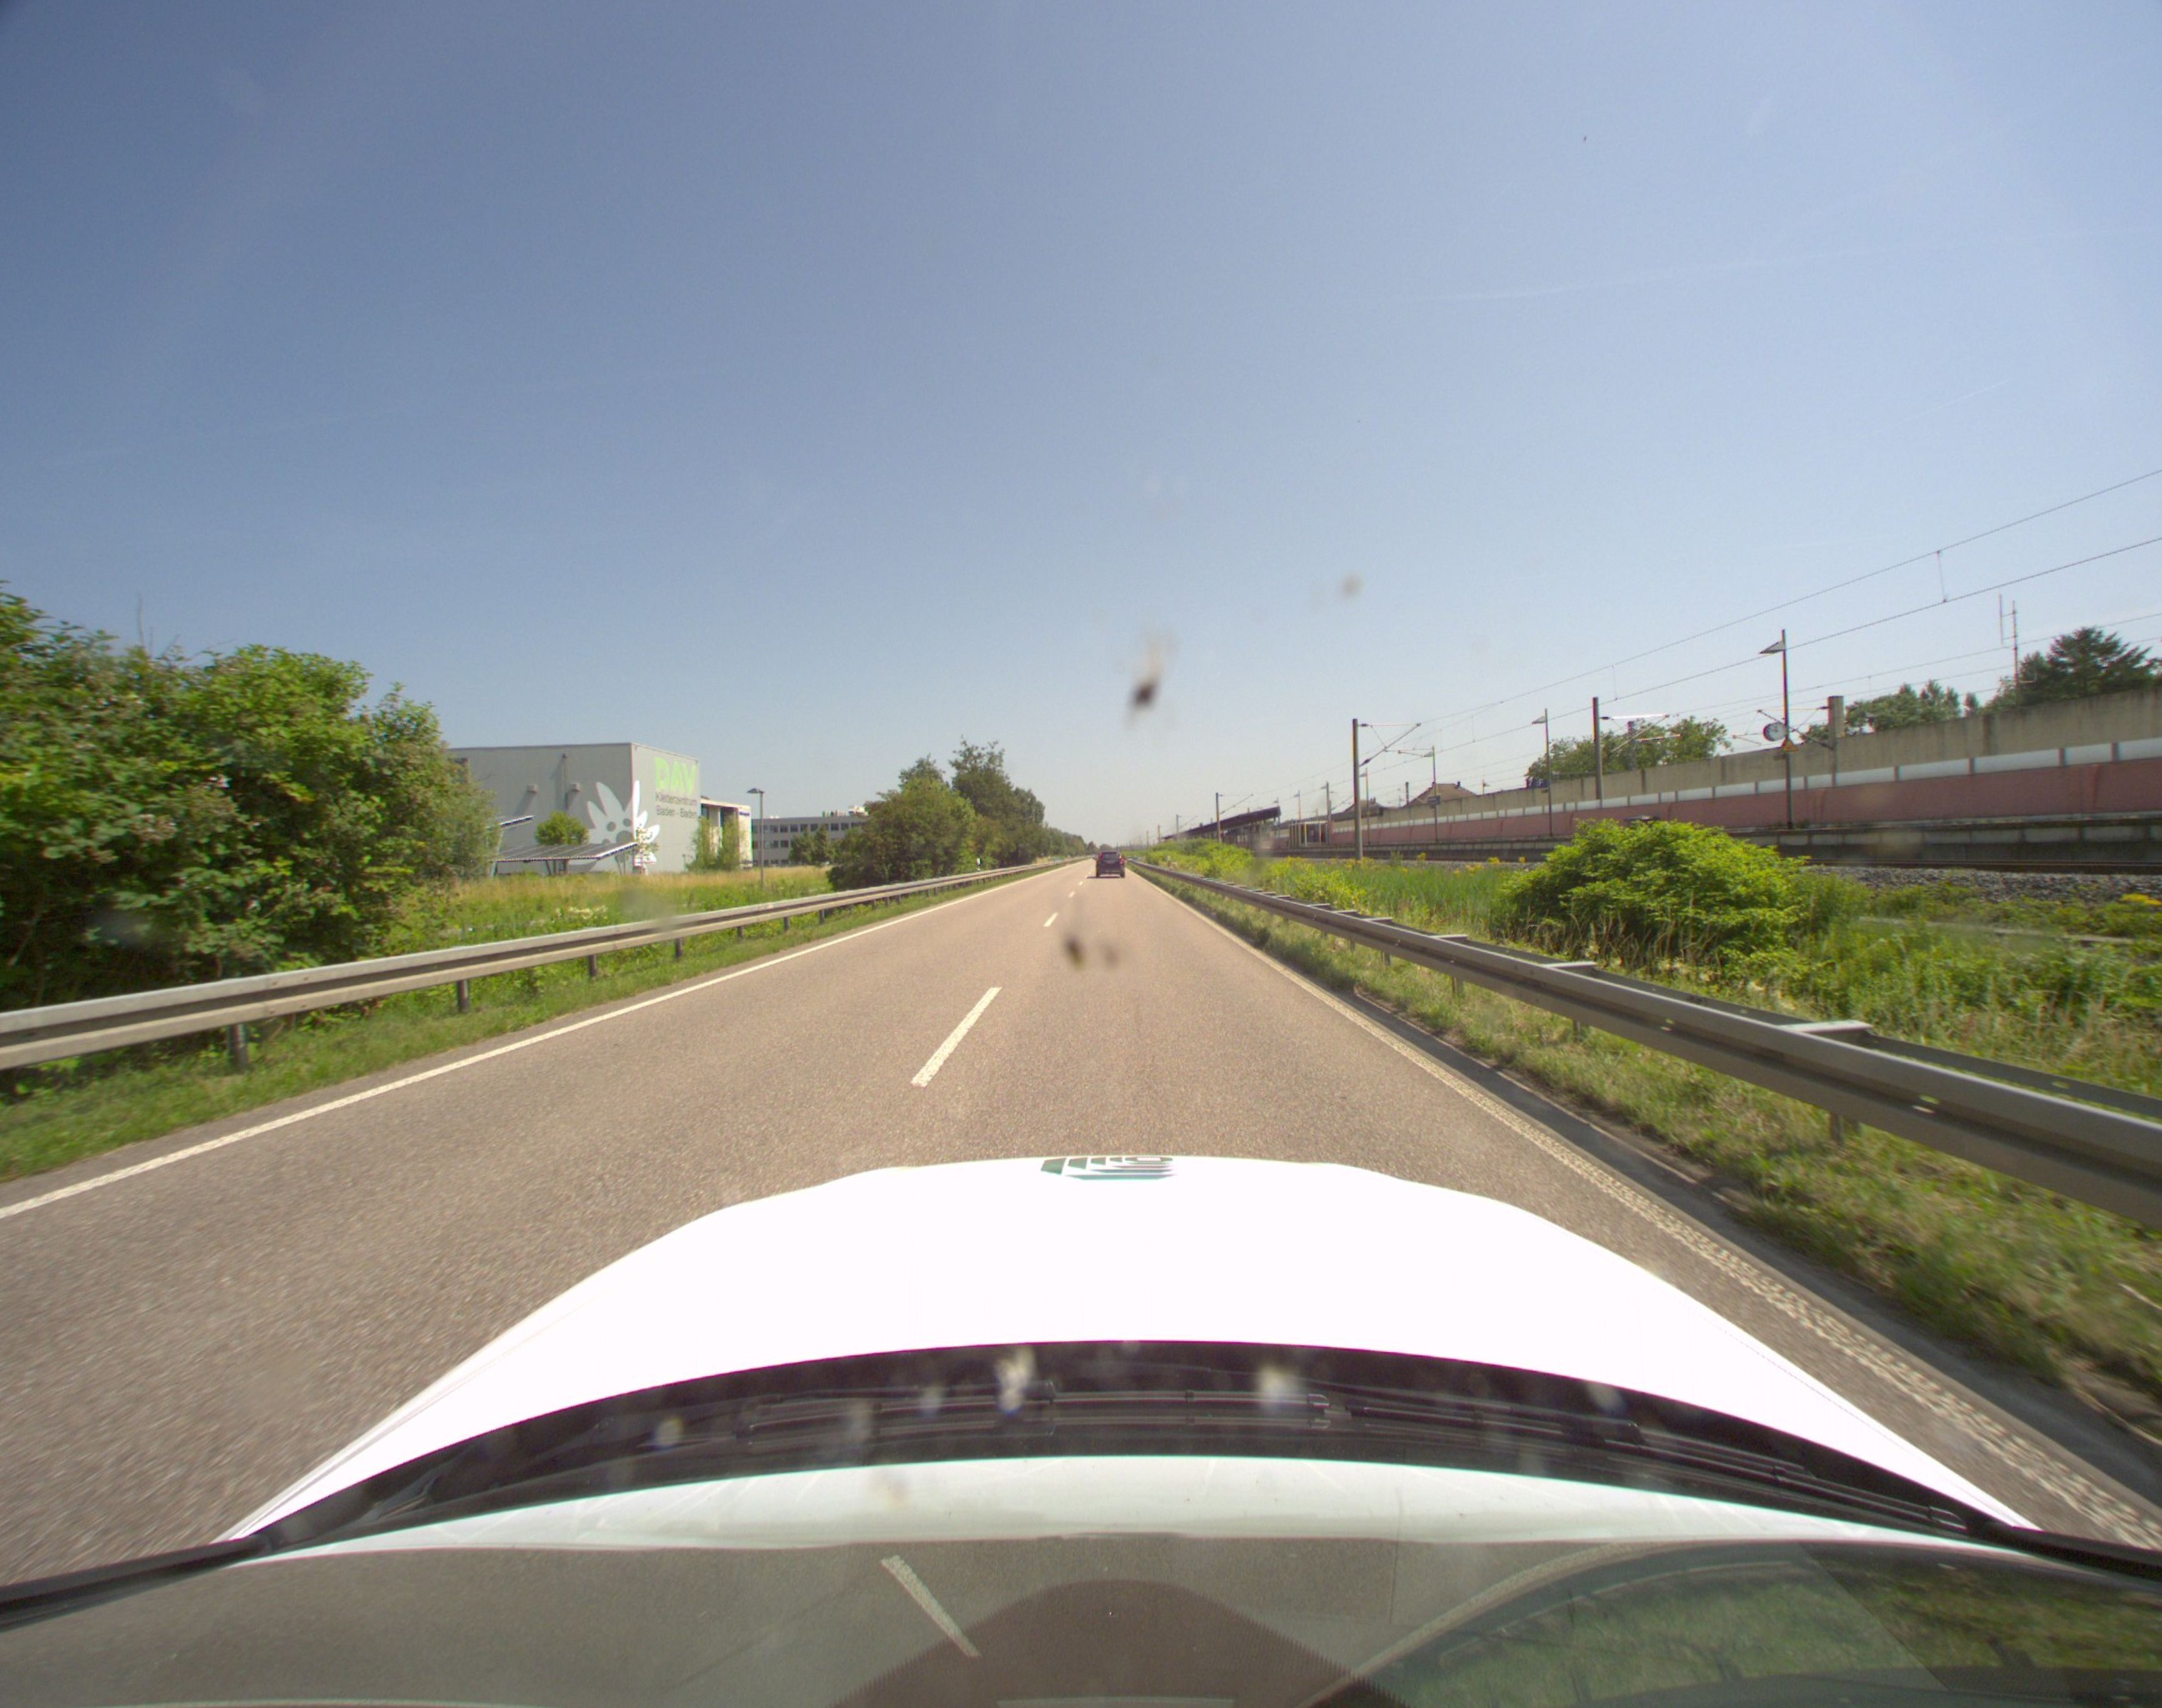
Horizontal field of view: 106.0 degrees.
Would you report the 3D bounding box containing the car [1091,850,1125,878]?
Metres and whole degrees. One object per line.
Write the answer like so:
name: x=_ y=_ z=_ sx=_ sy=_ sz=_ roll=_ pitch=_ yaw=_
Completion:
car: x=1.724 y=0.611 z=53.034 sx=1.988 sy=1.700 sz=3.998 roll=-1 pitch=0 yaw=-1
